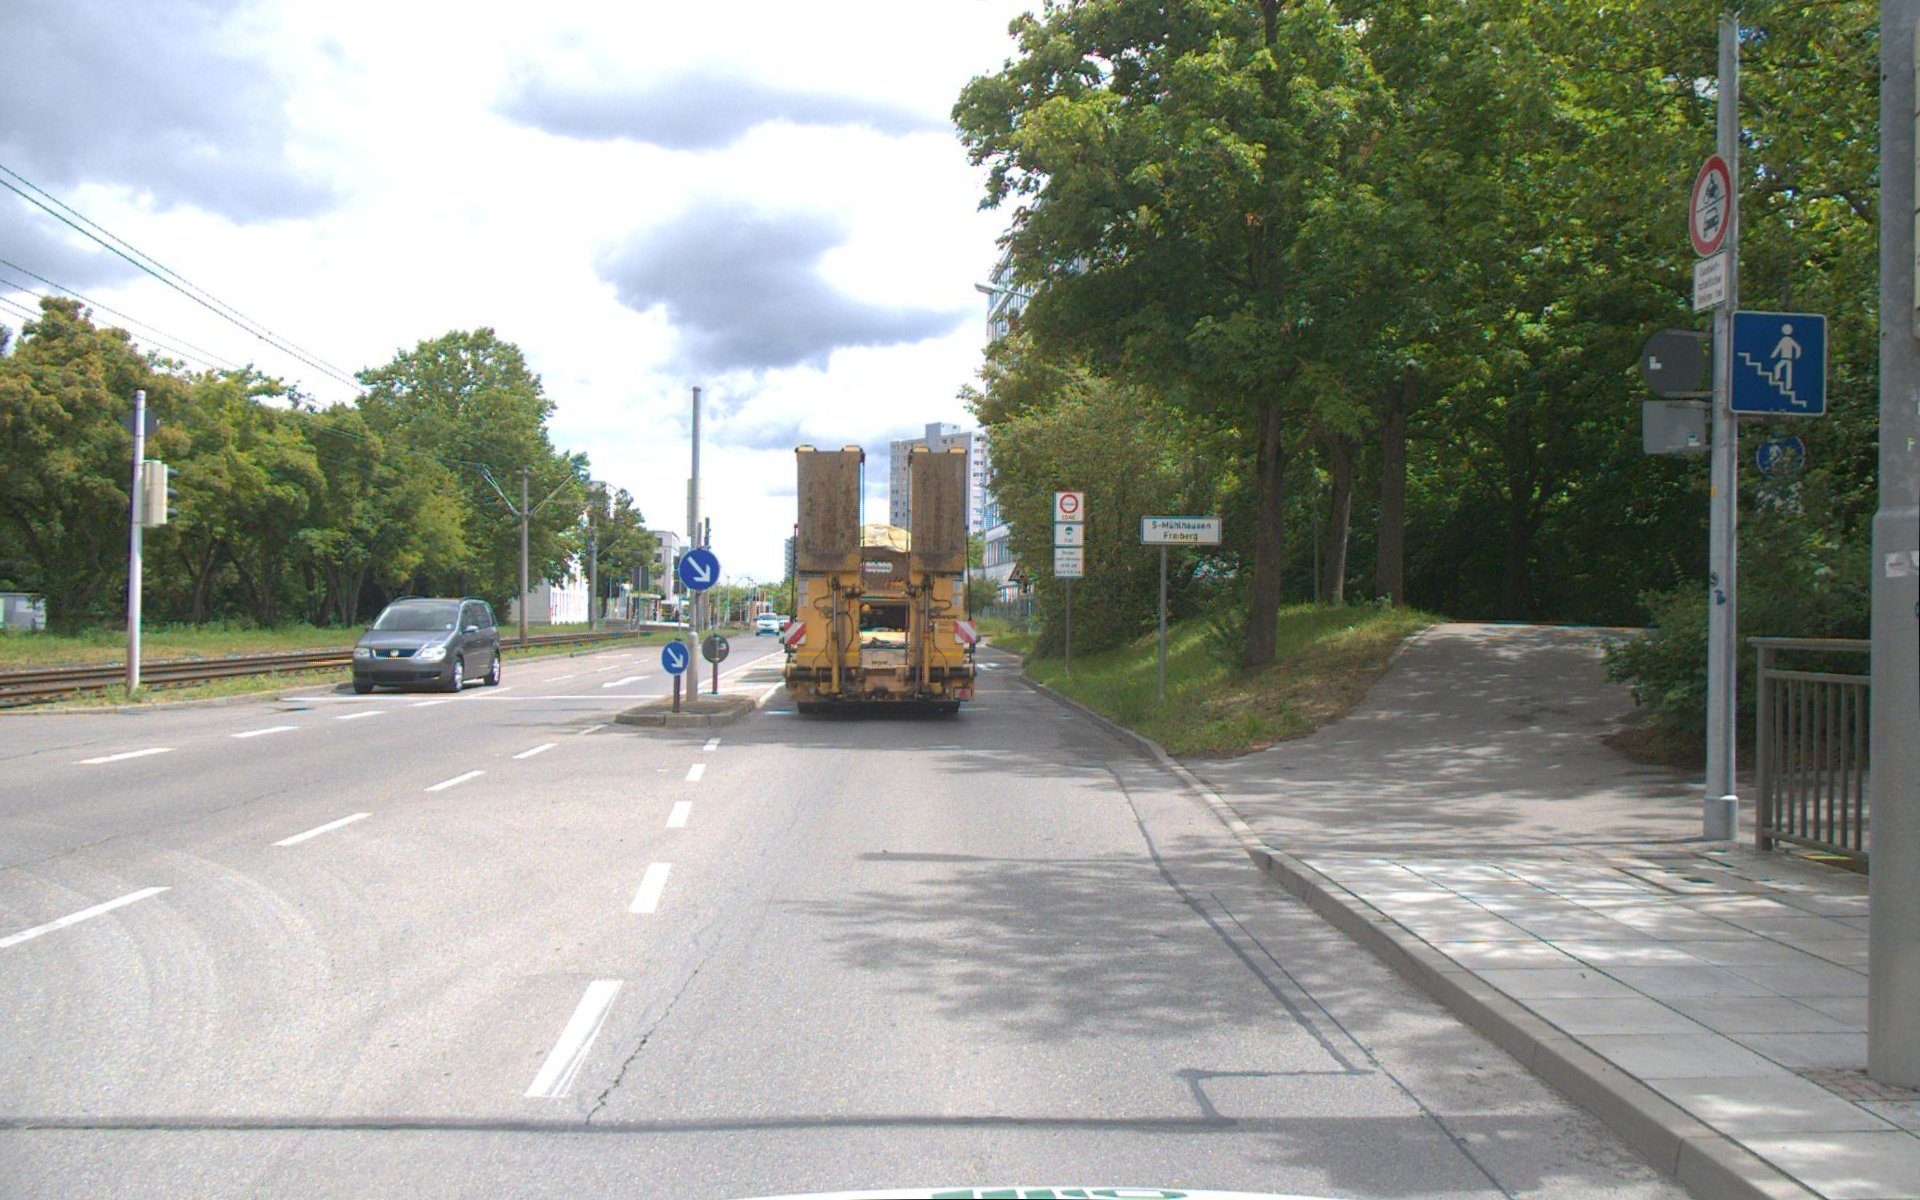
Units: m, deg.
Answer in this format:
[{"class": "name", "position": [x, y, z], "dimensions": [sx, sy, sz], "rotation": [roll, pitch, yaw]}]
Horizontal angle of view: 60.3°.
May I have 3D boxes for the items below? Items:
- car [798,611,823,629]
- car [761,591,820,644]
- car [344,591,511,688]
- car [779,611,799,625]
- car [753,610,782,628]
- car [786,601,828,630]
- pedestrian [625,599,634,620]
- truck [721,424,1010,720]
[{"class": "car", "position": [-11.514, 1.526, 127.393], "dimensions": [1.748, 1.294, 4.342], "rotation": [1, 0, -3]}, {"class": "car", "position": [-6.689, 0.688, 65.542], "dimensions": [1.953, 1.959, 3.998], "rotation": [3, 0, -2]}, {"class": "car", "position": [-9.451, 0.665, 29.697], "dimensions": [1.748, 1.597, 4.342], "rotation": [1, 0, -3]}, {"class": "car", "position": [-16.219, 1.740, 157.311], "dimensions": [1.748, 1.294, 4.341], "rotation": [1, 0, -4]}, {"class": "car", "position": [-13.638, 1.334, 117.512], "dimensions": [1.748, 1.294, 4.342], "rotation": [1, 0, -3]}, {"class": "car", "position": [-8.182, 0.829, 88.602], "dimensions": [1.953, 1.445, 3.998], "rotation": [3, 0, -2]}, {"class": "pedestrian", "position": [-33.382, 0.946, 167.237], "dimensions": [0.639, 2.049, 0.653], "rotation": [2, -1, 3]}, {"class": "truck", "position": [-1.040, -0.324, 27.659], "dimensions": [3.247, 3.715, 12.566], "rotation": [2, 0, 3]}]
